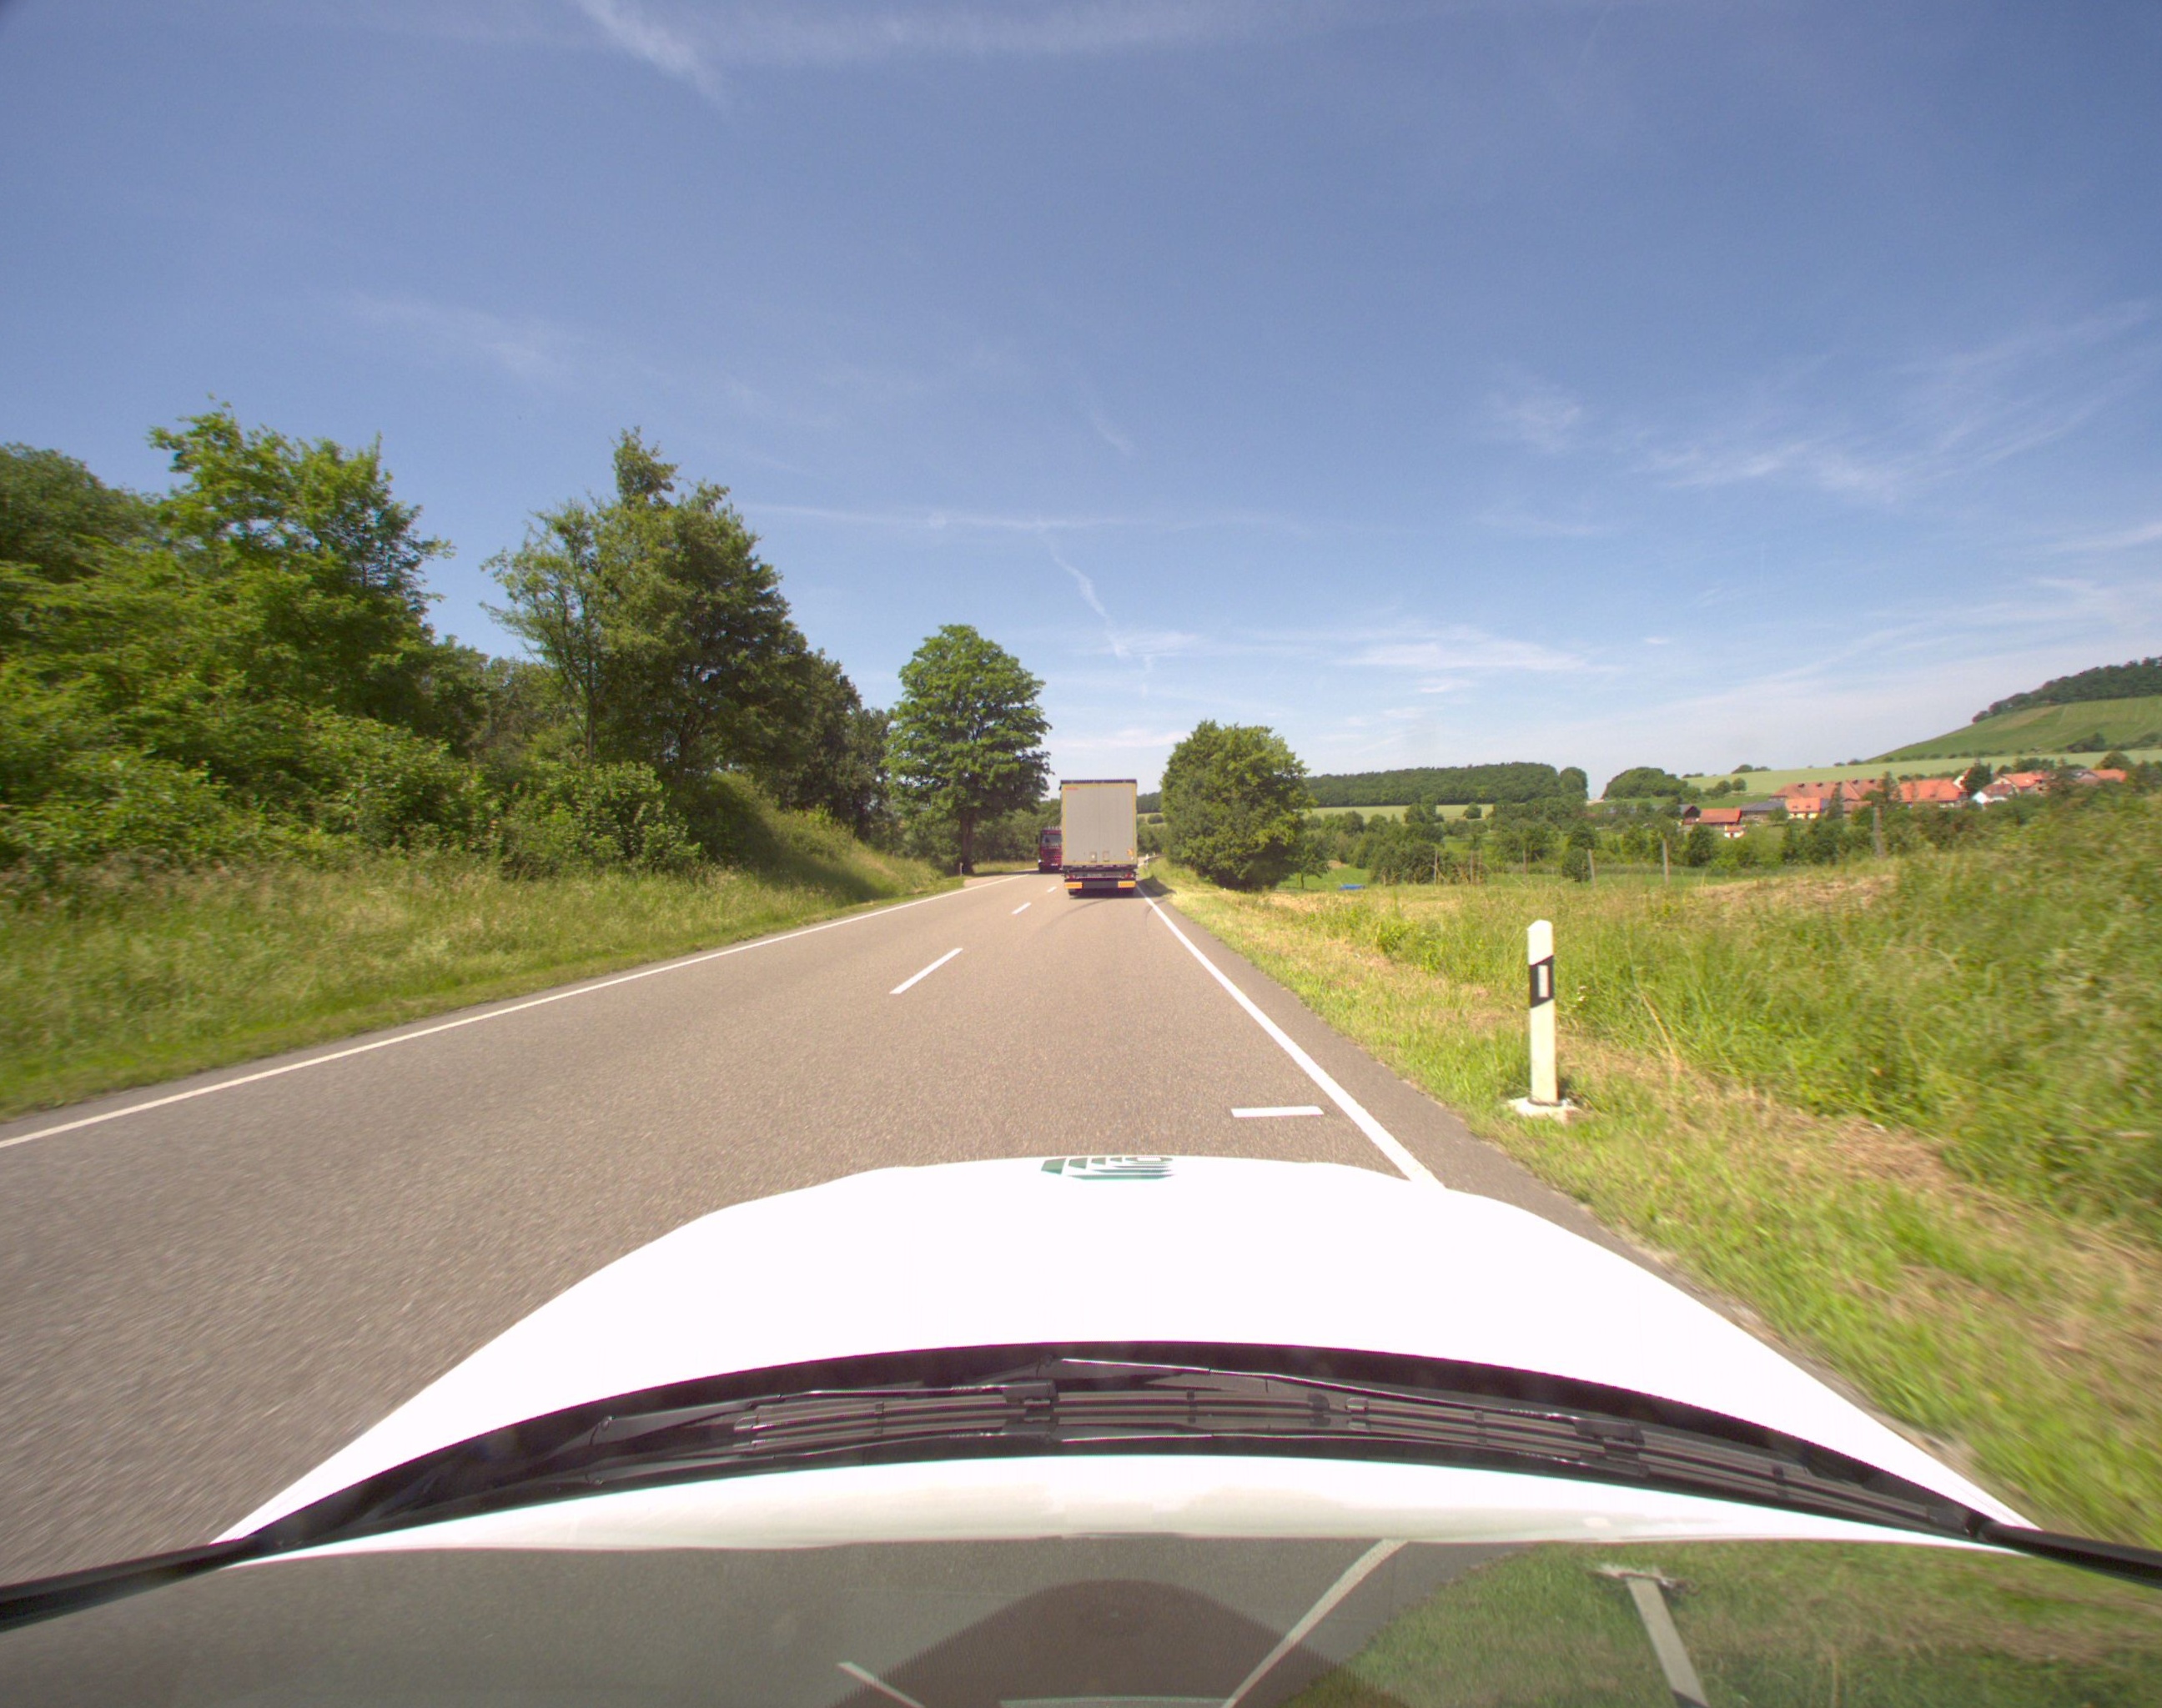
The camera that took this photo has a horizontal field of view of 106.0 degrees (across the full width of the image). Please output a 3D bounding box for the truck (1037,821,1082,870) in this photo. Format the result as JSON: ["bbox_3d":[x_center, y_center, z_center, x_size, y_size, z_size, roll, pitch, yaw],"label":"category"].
[{"bbox_3d":[-1.603,-0.607,64.209,2.518,3.559,7.774,-1,0,6],"label":"truck"}]

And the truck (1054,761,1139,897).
[{"bbox_3d":[0.748,-0.870,33.006,2.806,4.532,11.774,0,0,2],"label":"truck"}]
